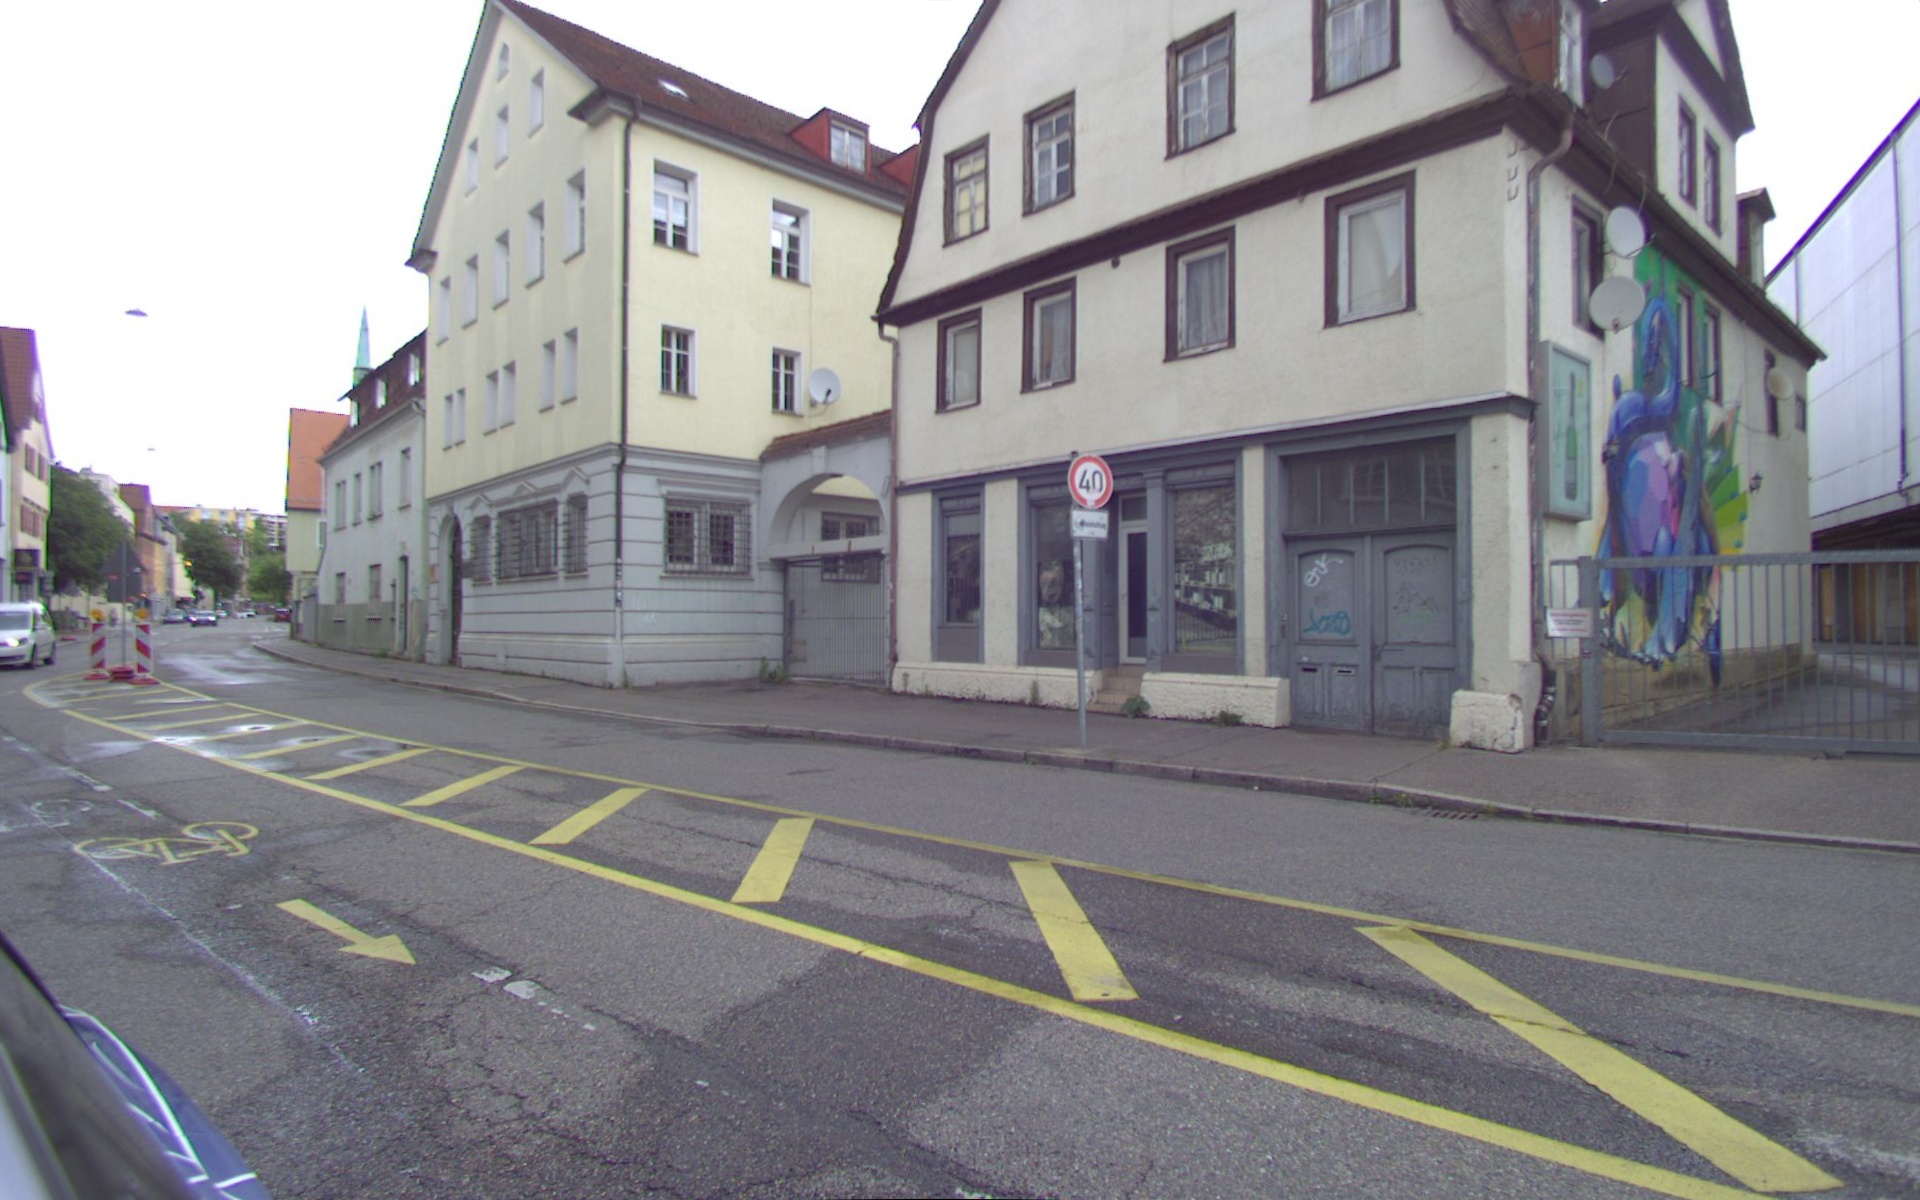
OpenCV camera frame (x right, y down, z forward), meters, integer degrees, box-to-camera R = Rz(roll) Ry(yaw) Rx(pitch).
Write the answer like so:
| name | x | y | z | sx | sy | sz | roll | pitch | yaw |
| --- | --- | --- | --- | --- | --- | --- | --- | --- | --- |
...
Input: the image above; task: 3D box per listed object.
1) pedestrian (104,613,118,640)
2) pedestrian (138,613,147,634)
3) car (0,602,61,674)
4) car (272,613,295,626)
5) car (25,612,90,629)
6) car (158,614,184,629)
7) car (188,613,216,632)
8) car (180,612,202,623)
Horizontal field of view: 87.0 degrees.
| name | x | y | z | sx | sy | sz | roll | pitch | yaw |
| --- | --- | --- | --- | --- | --- | --- | --- | --- | --- |
| pedestrian | -75.299 | 2.360 | 89.785 | 0.888 | 2.328 | 0.822 | 1 | -2 | -36 |
| pedestrian | -83.908 | 2.376 | 103.873 | 0.650 | 2.131 | 0.647 | 1 | -2 | -39 |
| car | -25.892 | 0.957 | 27.125 | 1.966 | 1.800 | 4.480 | 2 | -1 | -33 |
| car | -85.880 | 2.461 | 128.424 | 2.178 | 1.690 | 4.509 | 2 | -2 | -36 |
| car | -77.428 | 1.746 | 86.893 | 3.932 | 1.475 | 2.006 | 0 | 0 | -33 |
| car | -84.971 | 2.297 | 108.994 | 2.001 | 1.567 | 4.010 | 2 | -2 | -35 |
| car | -70.541 | 2.033 | 94.221 | 1.967 | 1.691 | 4.010 | 0 | 0 | -34 |
| car | -96.592 | 2.167 | 127.203 | 1.792 | 1.399 | 4.011 | 2 | -2 | -32 |
